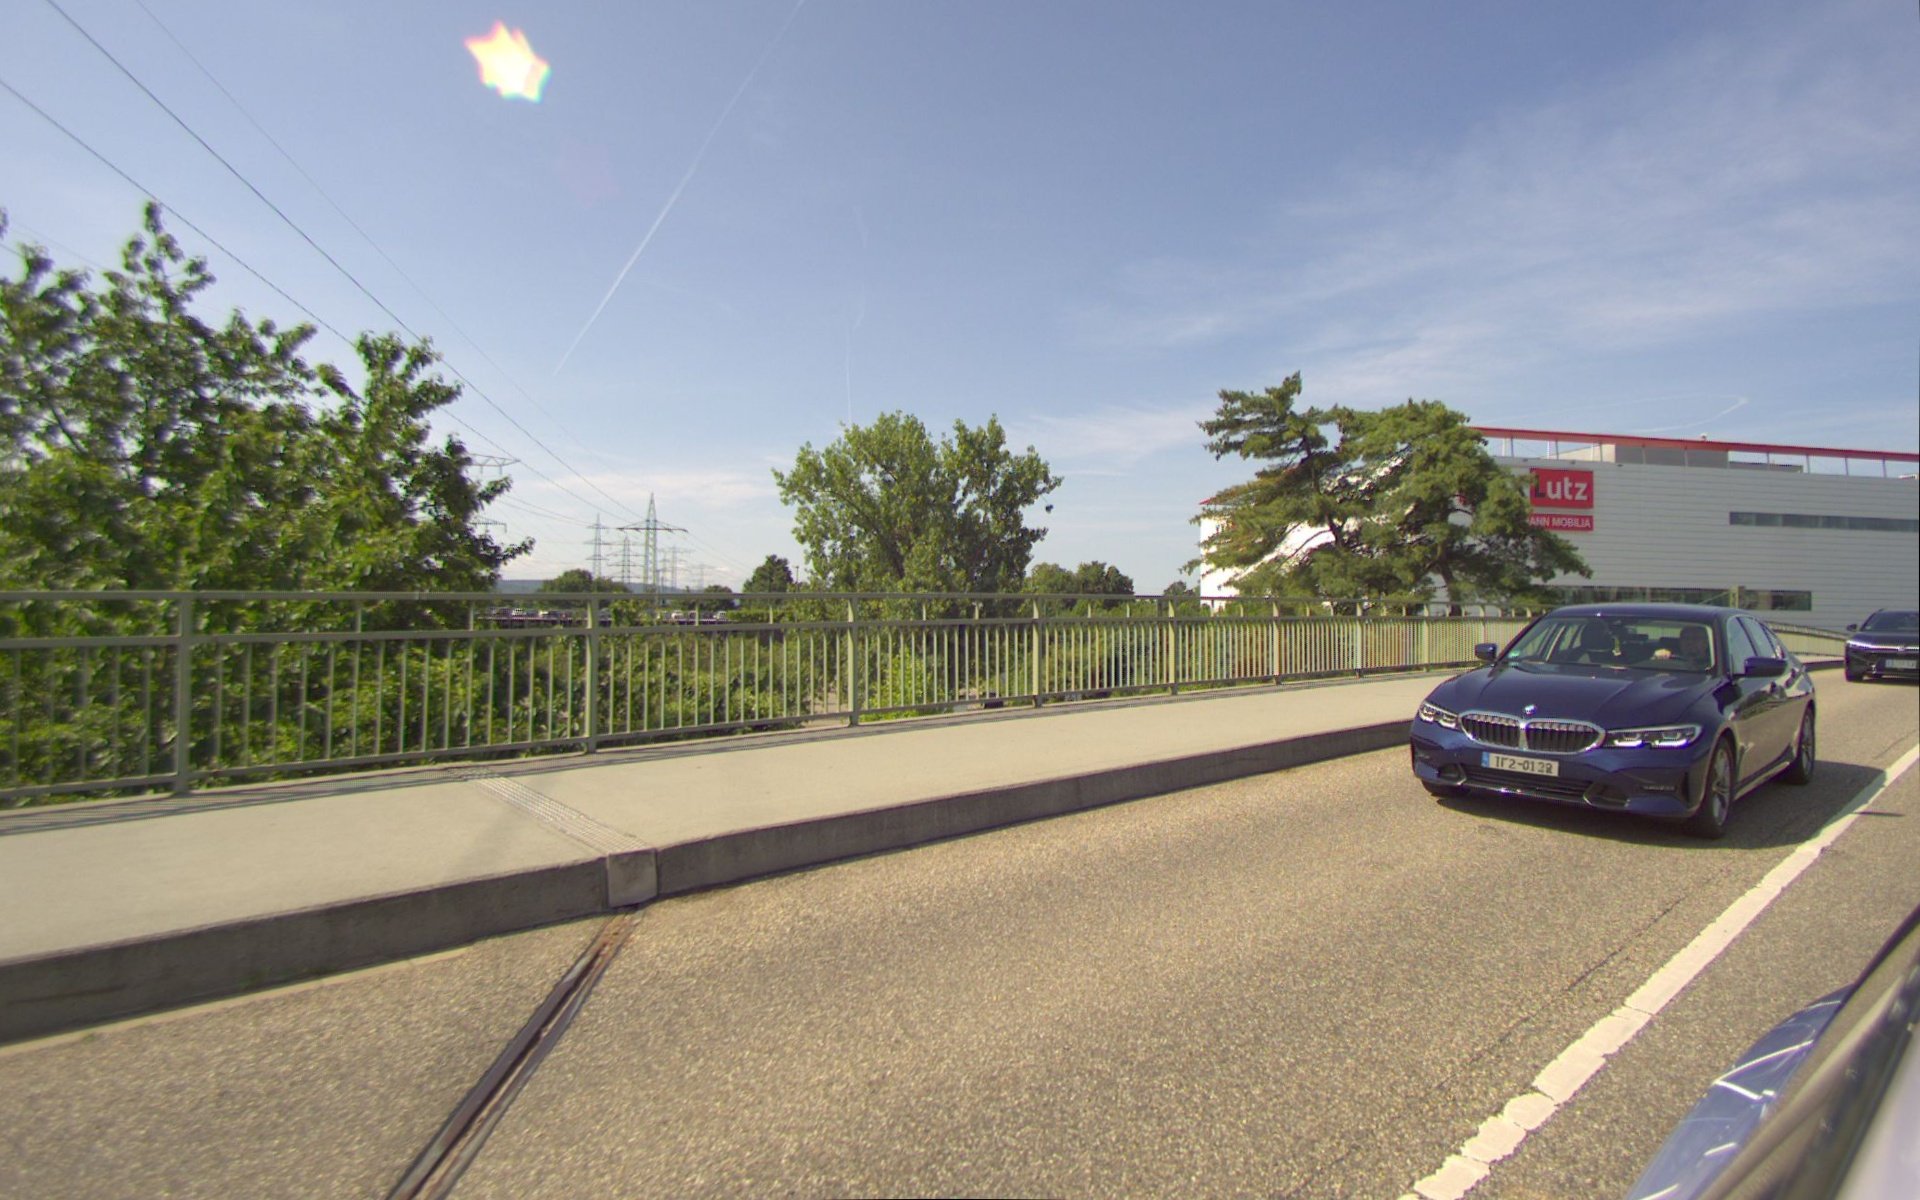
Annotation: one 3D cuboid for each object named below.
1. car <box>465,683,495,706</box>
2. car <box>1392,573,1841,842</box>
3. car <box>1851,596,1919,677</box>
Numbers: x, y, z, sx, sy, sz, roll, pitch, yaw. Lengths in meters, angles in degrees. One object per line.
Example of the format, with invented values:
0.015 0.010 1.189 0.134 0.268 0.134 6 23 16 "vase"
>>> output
-43.990 8.632 92.797 1.958 1.747 4.008 1 -1 -17 "car"
5.247 0.651 7.817 4.440 1.502 1.790 2 -1 -41 "car"
19.958 0.739 20.892 4.072 1.549 1.859 1 -2 -42 "car"
